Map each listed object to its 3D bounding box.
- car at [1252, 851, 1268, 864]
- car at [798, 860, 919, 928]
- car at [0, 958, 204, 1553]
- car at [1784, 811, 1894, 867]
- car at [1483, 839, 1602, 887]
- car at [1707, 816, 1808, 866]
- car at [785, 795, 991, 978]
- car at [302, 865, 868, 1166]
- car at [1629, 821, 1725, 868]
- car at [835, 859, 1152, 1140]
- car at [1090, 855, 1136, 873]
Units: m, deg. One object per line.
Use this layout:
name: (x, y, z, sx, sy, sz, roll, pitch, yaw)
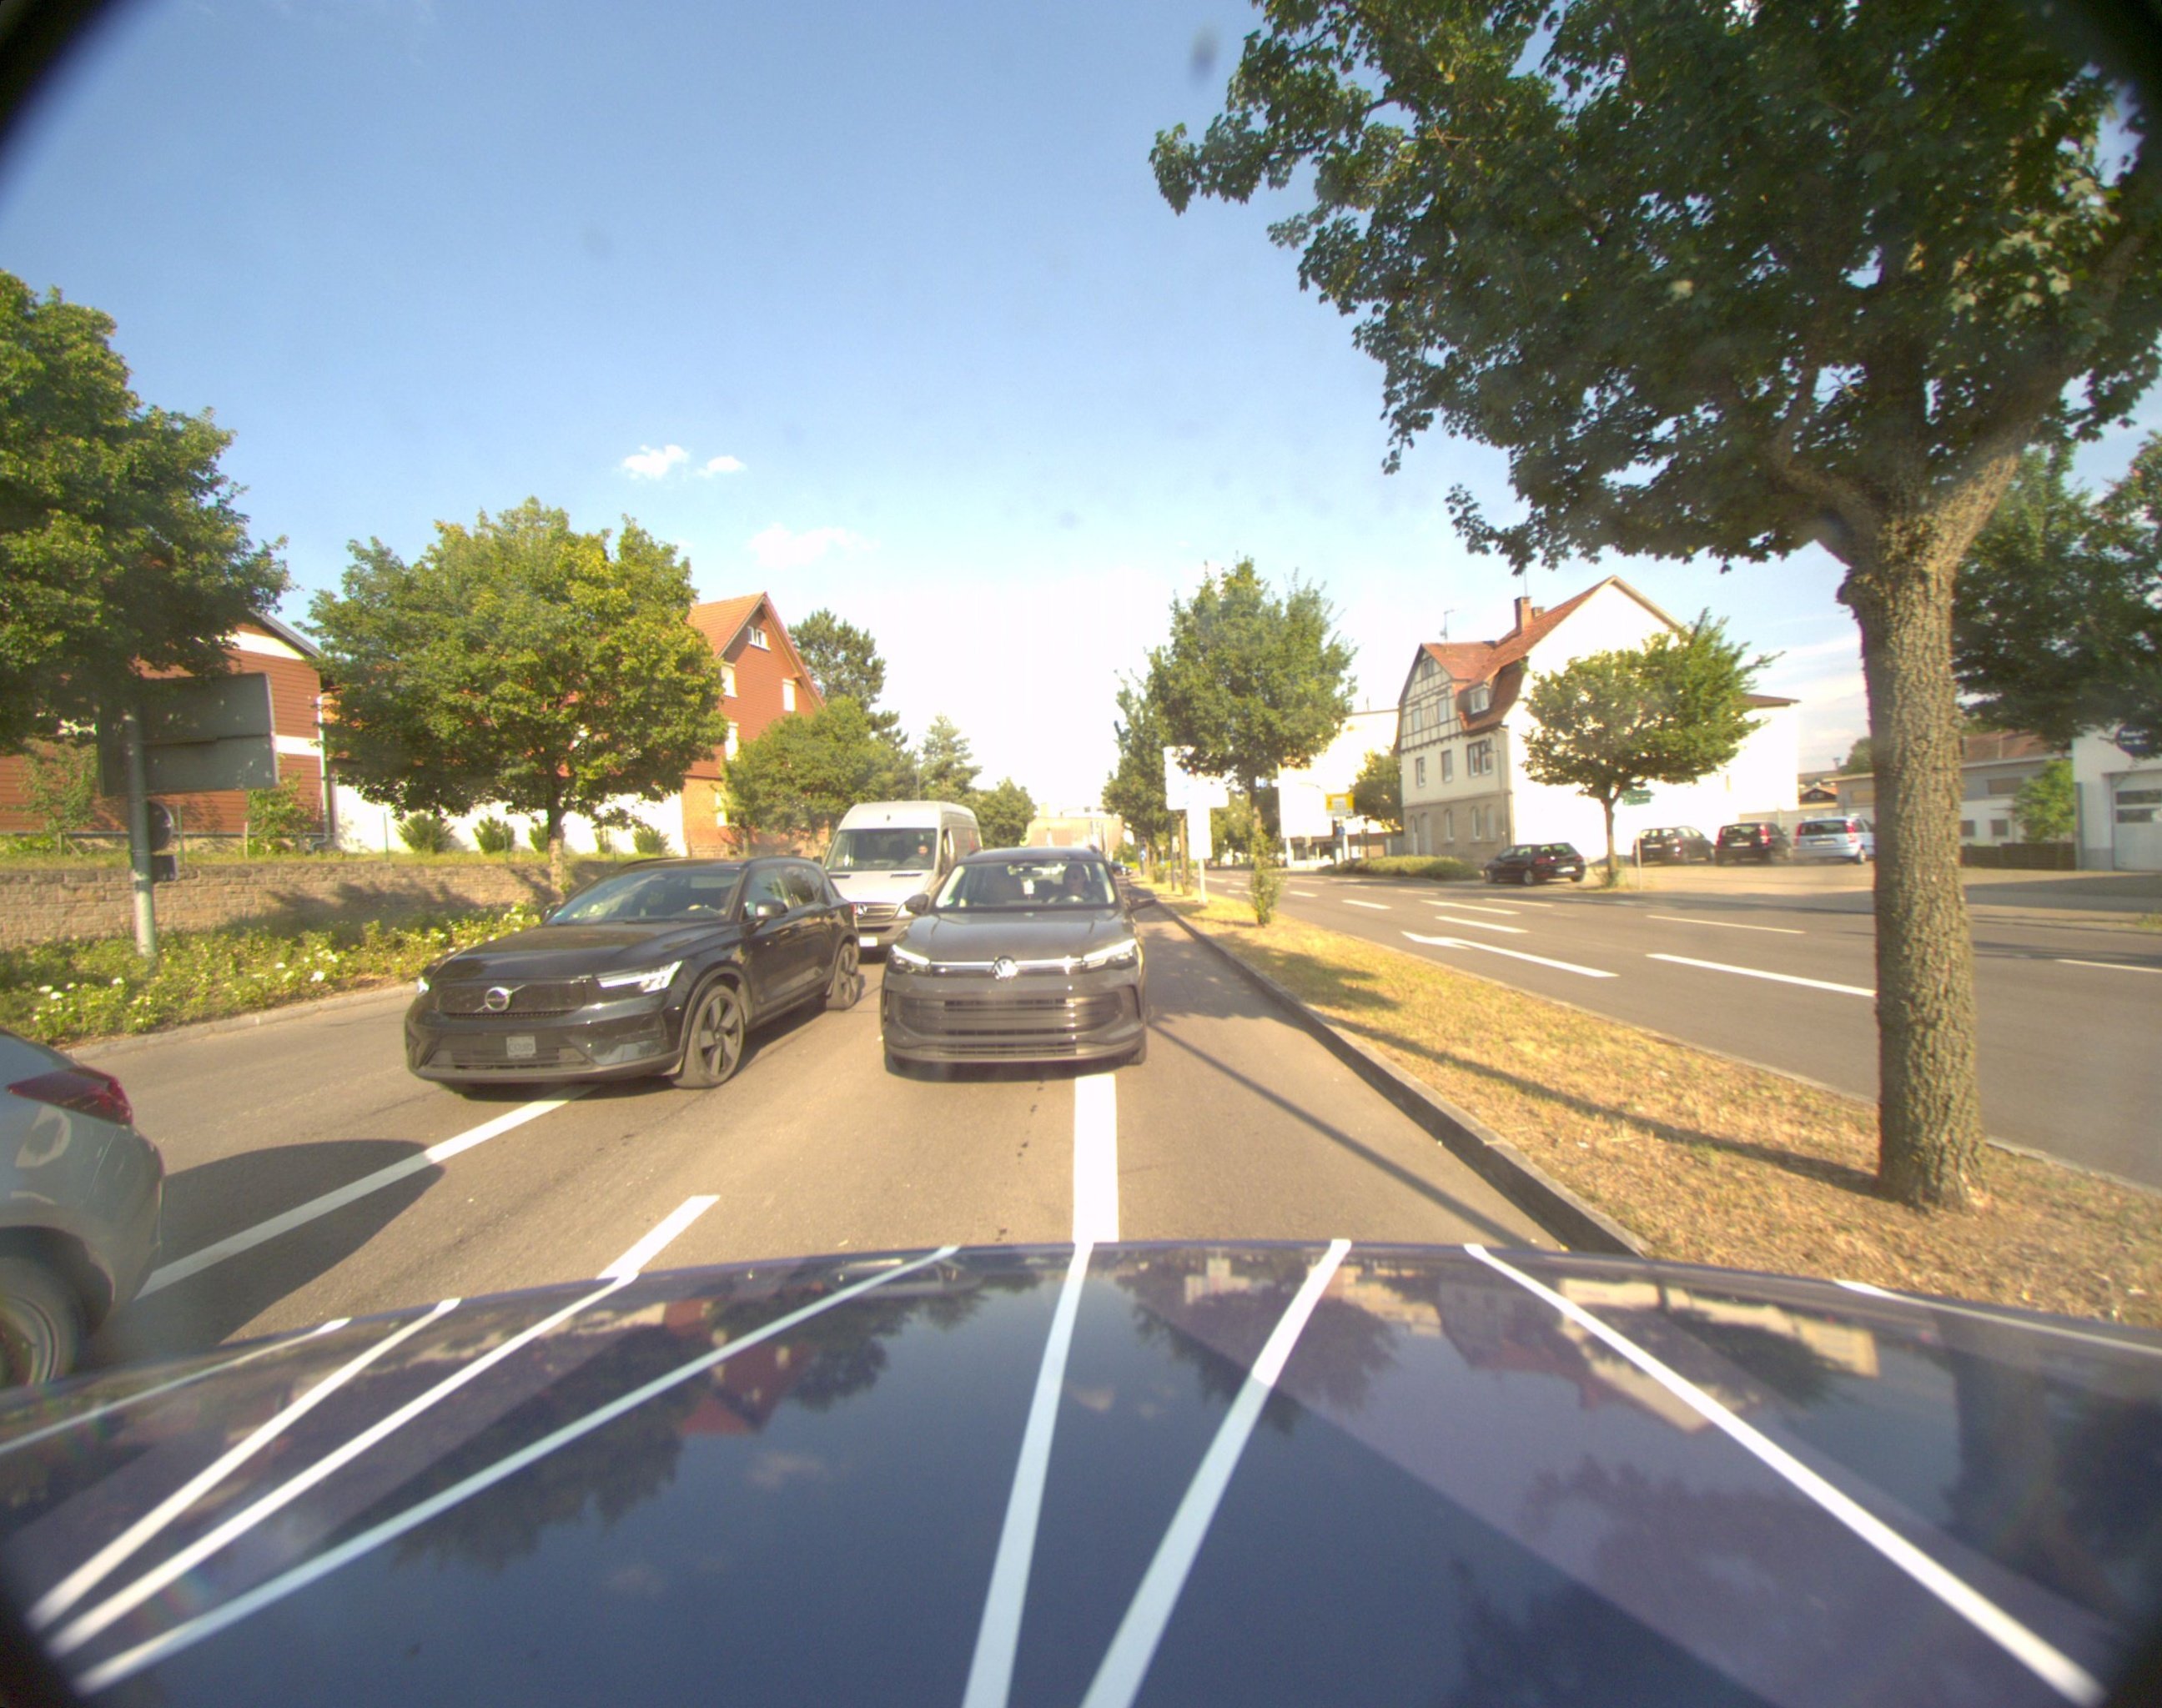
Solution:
car: (25.686, 0.466, 108.882, 1.779, 1.683, 4.005, -2, 0, 20)
car: (-5.929, 1.003, 20.876, 1.766, 1.599, 4.566, -1, 0, 3)
car: (-3.618, 1.063, 0.189, 1.766, 1.445, 4.318, -1, 0, 0)
car: (24.875, -0.499, 24.898, 3.830, 1.493, 1.816, -5, 0, -35)
car: (16.028, 0.284, 26.626, 1.818, 1.442, 3.825, -5, 0, 1)
car: (24.652, -0.485, 27.664, 3.830, 1.493, 1.816, -5, 0, -35)
car: (-3.076, 0.454, 13.709, 1.992, 2.554, 6.046, -1, 0, 2)
car: (-3.404, 0.949, 6.437, 1.845, 1.600, 4.318, -1, 0, 2)
car: (23.374, -0.387, 29.761, 3.830, 1.493, 1.816, -5, 0, -35)
car: (-0.456, 0.875, 6.626, 1.845, 1.600, 4.318, -1, 0, 2)
car: (2.995, 0.948, 71.799, 3.989, 1.597, 1.786, -2, 1, 39)
